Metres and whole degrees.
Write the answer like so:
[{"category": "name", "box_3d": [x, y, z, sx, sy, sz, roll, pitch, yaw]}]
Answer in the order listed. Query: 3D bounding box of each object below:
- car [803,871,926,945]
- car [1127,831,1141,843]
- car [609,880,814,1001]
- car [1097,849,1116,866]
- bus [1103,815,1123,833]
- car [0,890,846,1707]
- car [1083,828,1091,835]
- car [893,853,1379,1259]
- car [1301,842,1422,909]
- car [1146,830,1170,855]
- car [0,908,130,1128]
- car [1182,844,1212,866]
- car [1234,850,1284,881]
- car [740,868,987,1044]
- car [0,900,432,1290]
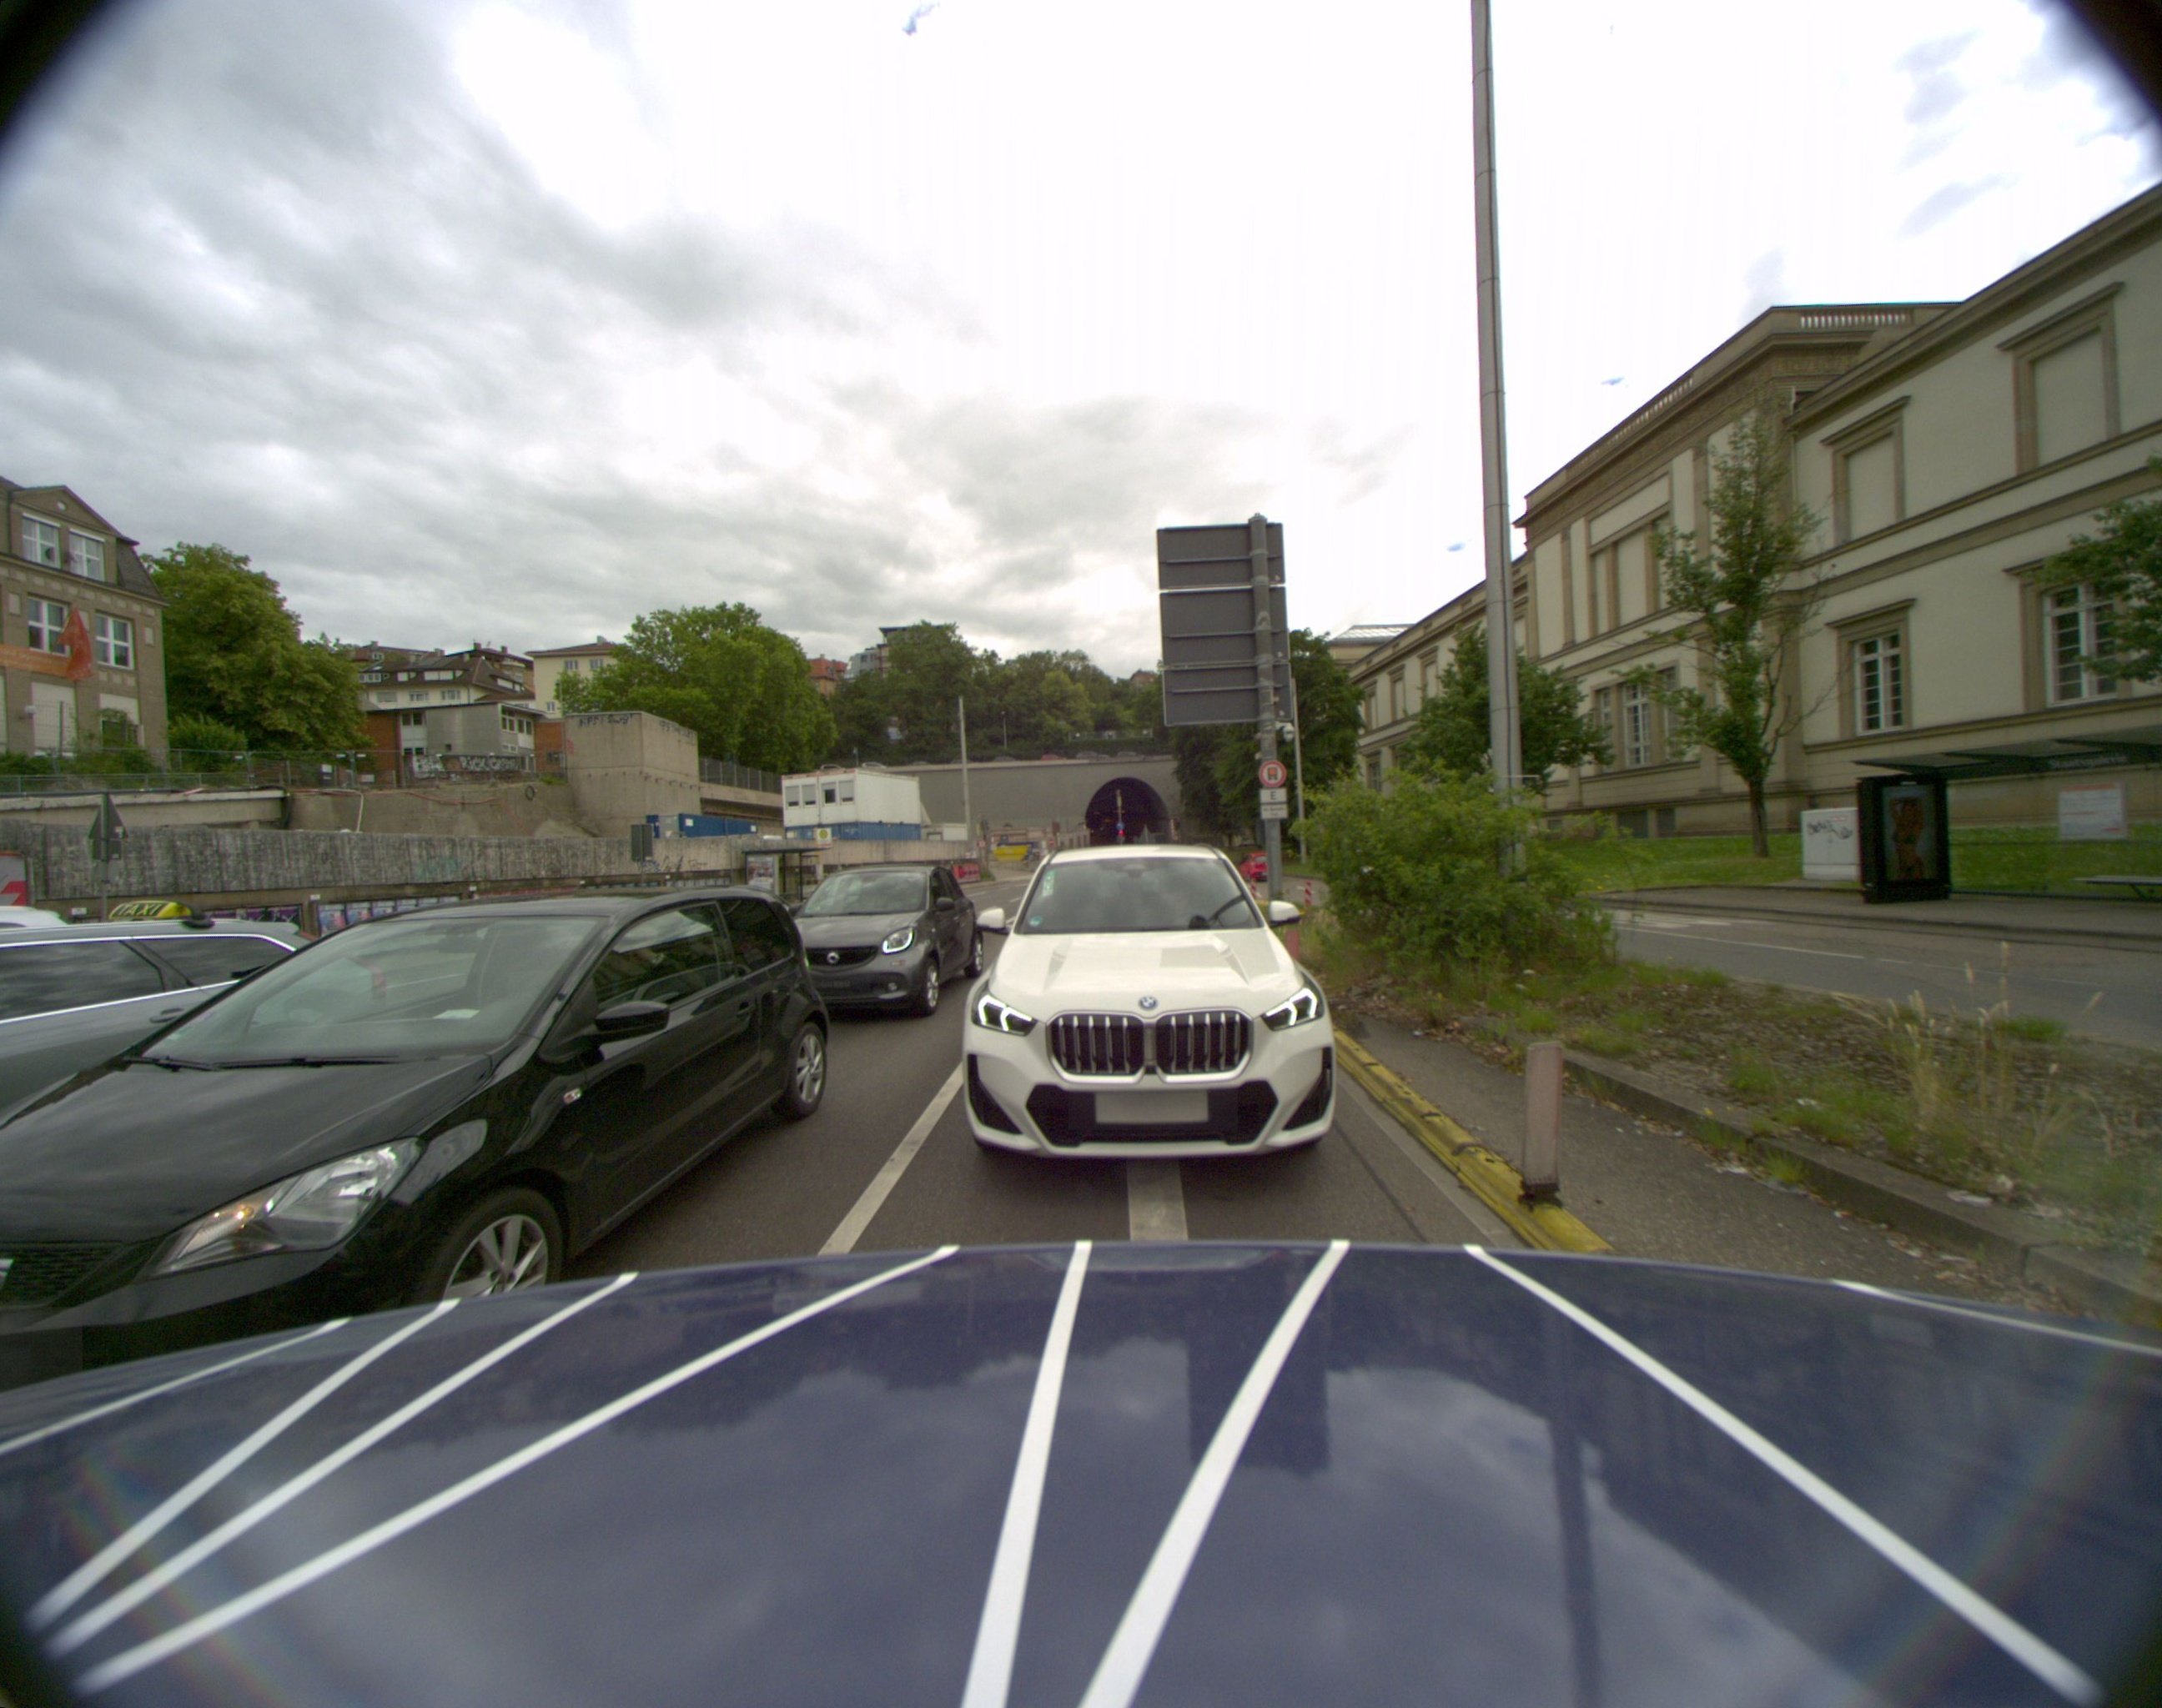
[{"category": "car", "box_3d": [-4.921, 1.172, 17.816, 1.680, 1.358, 3.806, -2, 1, 1]}, {"category": "car", "box_3d": [7.868, -2.529, 112.944, 1.946, 1.714, 4.000, -2, 1, 4]}, {"category": "car", "box_3d": [-5.393, 1.198, 11.468, 1.665, 1.423, 2.714, -2, 1, 1]}, {"category": "car", "box_3d": [2.435, 0.295, 72.391, 1.680, 1.450, 3.807, -2, 1, 3]}, {"category": "bus", "box_3d": [6.113, -5.699, 145.270, 3.171, 3.129, 9.118, -2, 1, -1]}, {"category": "car", "box_3d": [-2.575, 1.024, 3.346, 1.829, 1.450, 3.700, -2, 1, 1]}, {"category": "car", "box_3d": [1.282, -4.675, 160.627, 1.680, 1.358, 3.806, -2, 1, 1]}, {"category": "car", "box_3d": [0.259, 0.853, 5.038, 1.987, 1.615, 3.670, -2, 1, 1]}, {"category": "car", "box_3d": [7.926, 0.541, 21.926, 1.875, 1.681, 4.267, -2, 1, 0]}, {"category": "car", "box_3d": [8.279, -1.221, 81.700, 2.203, 2.493, 4.758, -2, 1, 2]}, {"category": "car", "box_3d": [-9.110, 1.325, 4.449, 1.680, 1.615, 4.209, -2, 1, 1]}, {"category": "car", "box_3d": [9.185, 0.083, 60.380, 1.778, 1.609, 3.802, -2, 1, -1]}, {"category": "car", "box_3d": [9.261, 0.575, 39.823, 1.646, 1.469, 3.574, -2, 0, -2]}, {"category": "car", "box_3d": [-2.257, 0.986, 8.895, 1.720, 1.535, 3.575, -2, 0, 2]}, {"category": "car", "box_3d": [-5.860, 1.213, 3.307, 1.829, 1.615, 4.808, -2, 1, 1]}]
